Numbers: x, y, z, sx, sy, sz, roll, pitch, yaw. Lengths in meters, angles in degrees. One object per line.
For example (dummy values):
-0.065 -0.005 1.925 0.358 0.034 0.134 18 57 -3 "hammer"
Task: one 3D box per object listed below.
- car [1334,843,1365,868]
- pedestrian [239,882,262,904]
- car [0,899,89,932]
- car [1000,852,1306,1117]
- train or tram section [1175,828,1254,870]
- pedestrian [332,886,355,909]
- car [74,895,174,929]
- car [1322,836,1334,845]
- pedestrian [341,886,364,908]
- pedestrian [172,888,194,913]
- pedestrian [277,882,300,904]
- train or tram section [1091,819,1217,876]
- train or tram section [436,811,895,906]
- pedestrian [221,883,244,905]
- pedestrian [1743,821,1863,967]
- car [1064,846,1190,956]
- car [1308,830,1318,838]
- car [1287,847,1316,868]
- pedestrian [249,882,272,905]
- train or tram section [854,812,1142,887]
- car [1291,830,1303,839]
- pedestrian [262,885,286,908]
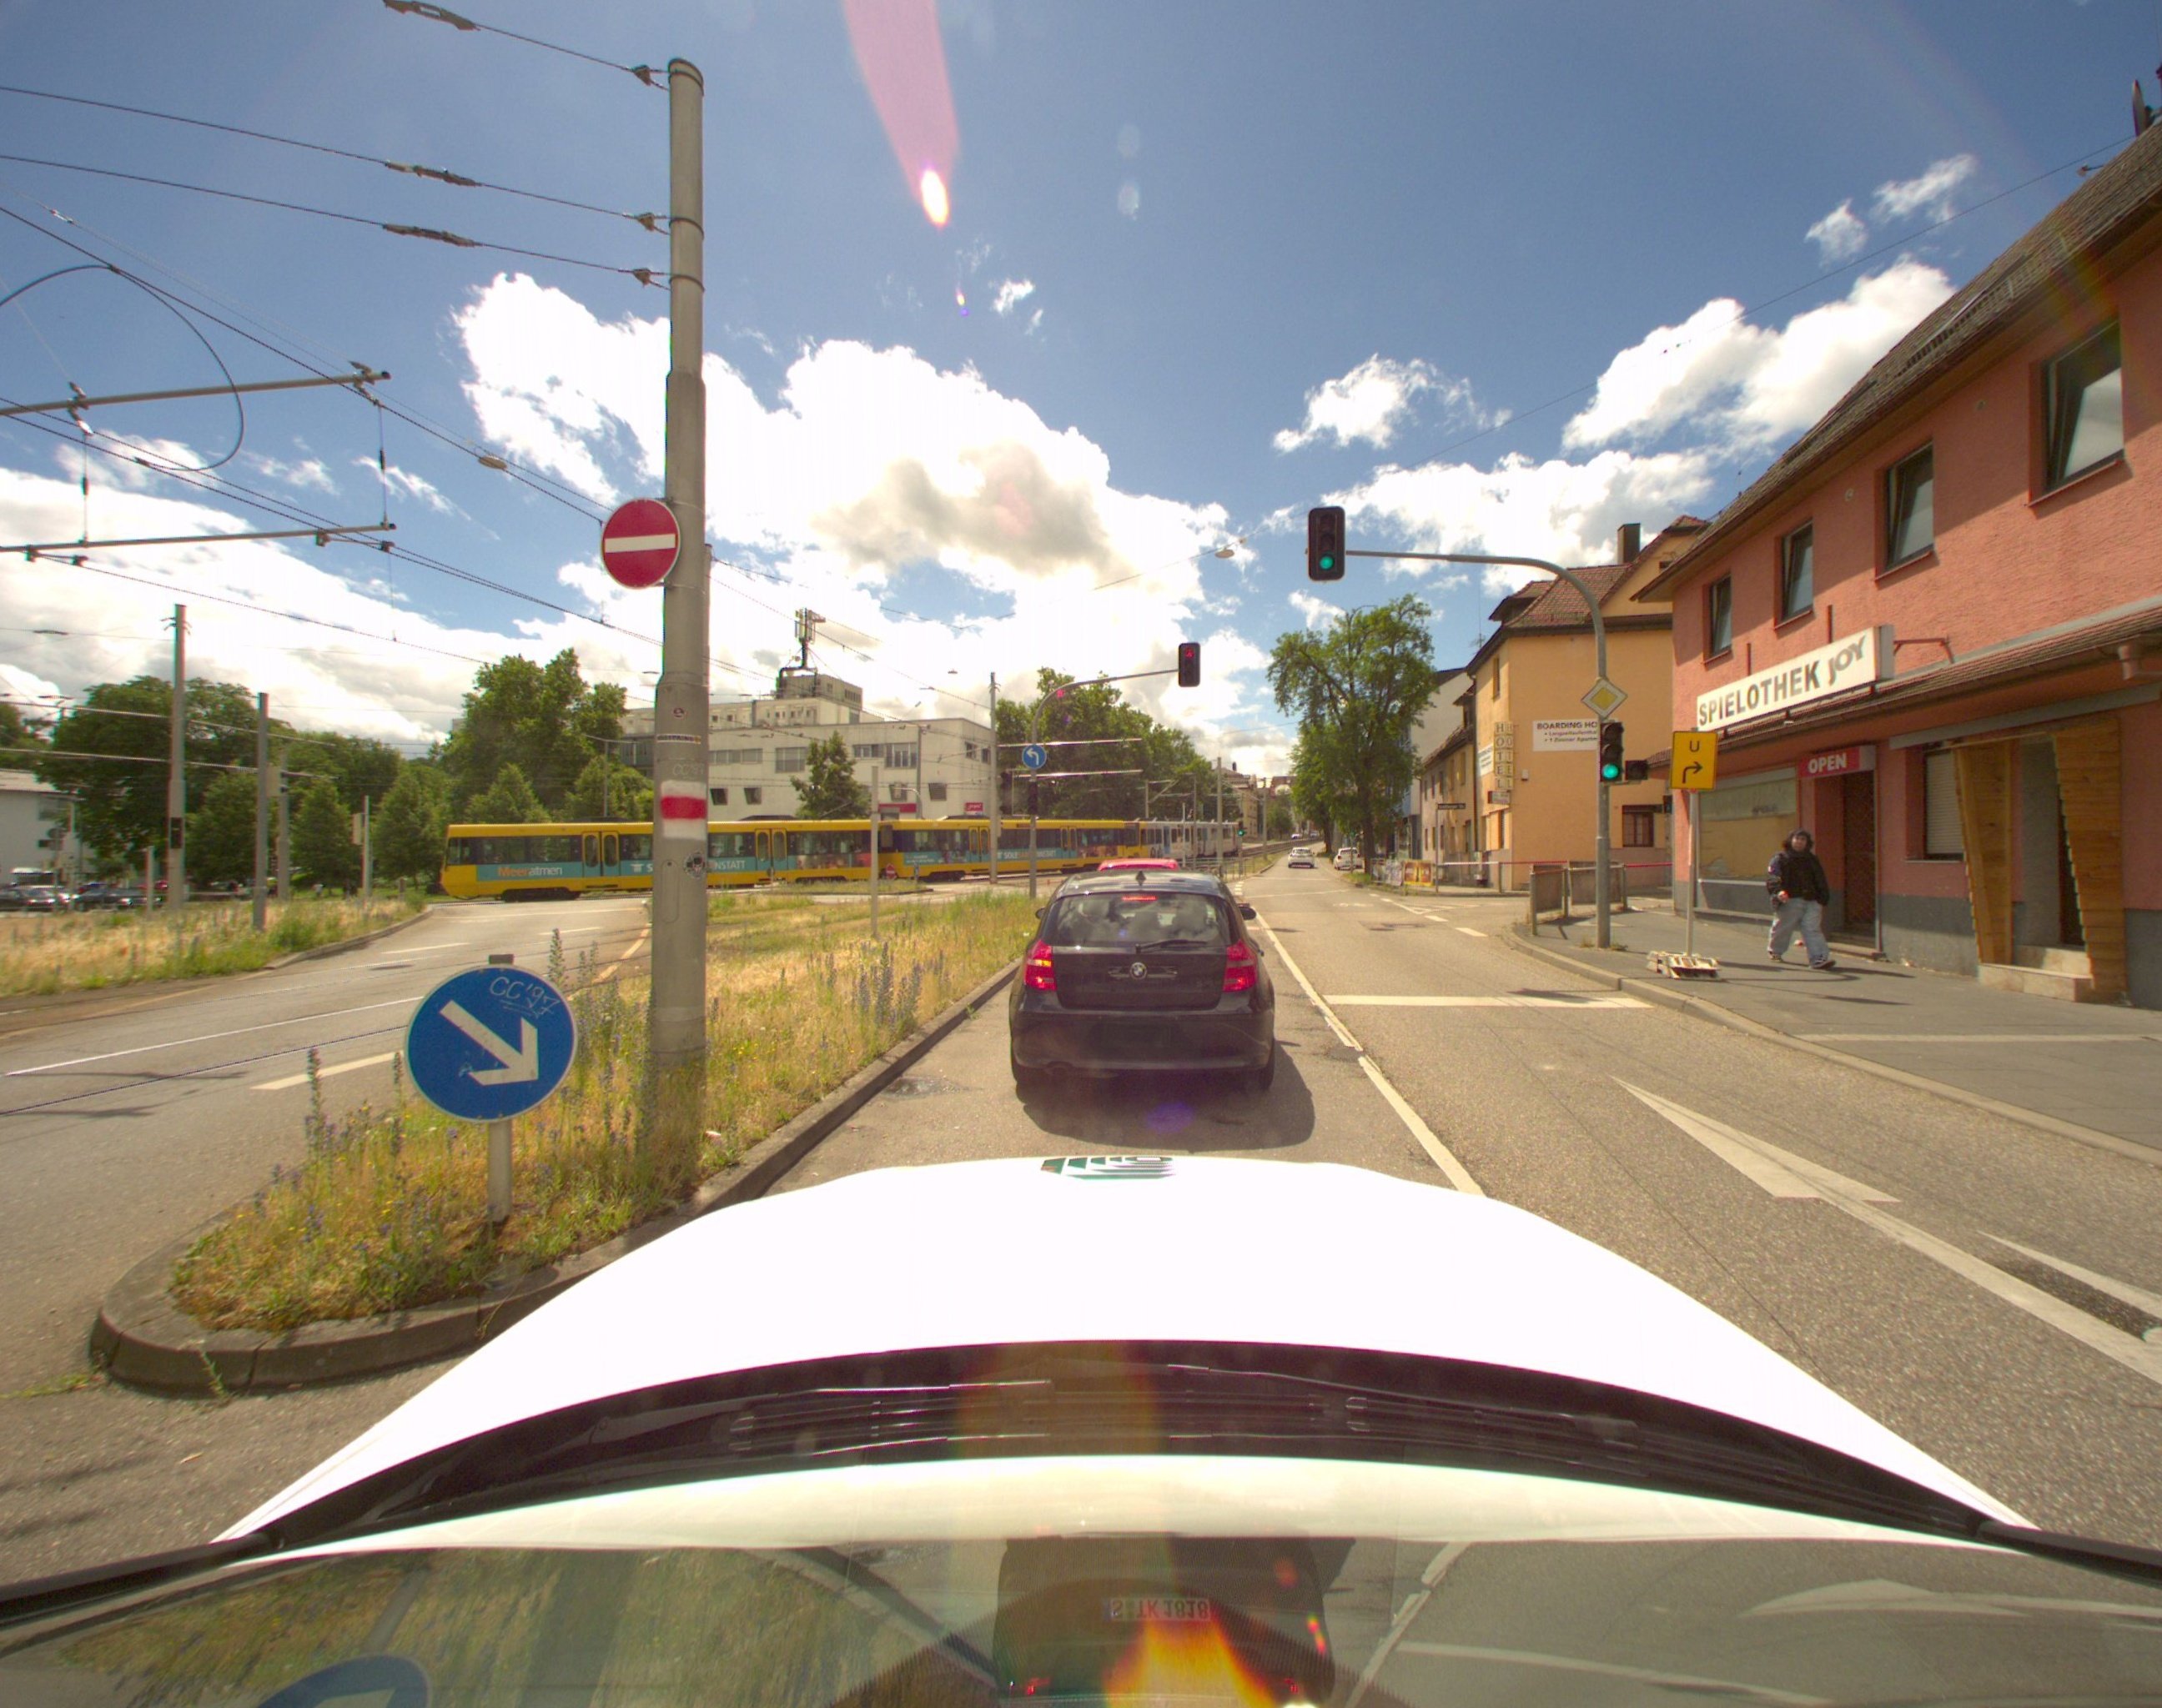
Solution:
18.376 0.089 55.854 1.774 1.596 4.016 -2 -1 15 "car"
-62.254 2.935 61.060 0.809 1.576 0.843 -1 0 7 "pedestrian"
-57.894 3.426 45.187 4.212 1.651 1.926 -2 -1 13 "car"
0.412 0.770 6.643 1.696 1.452 3.999 -2 -1 0 "car"
14.403 -0.426 85.301 3.717 3.814 20.157 -2 -1 22 "train or tram section"
-52.064 3.061 57.514 0.809 1.576 0.843 -1 0 7 "pedestrian"
-56.231 3.412 47.879 4.196 1.791 2.030 -2 -1 13 "car"
43.063 -2.376 141.897 1.800 1.468 4.020 1 1 19 "car"
-52.317 3.085 58.494 0.809 1.576 0.843 -1 0 7 "pedestrian"
-69.331 3.553 62.871 0.811 1.866 0.835 -1 0 16 "pedestrian"
-57.890 2.844 59.488 0.809 1.576 0.843 -1 0 7 "pedestrian"
6.662 -0.448 66.941 3.715 3.879 20.750 -2 -1 24 "train or tram section"
-18.967 0.025 39.591 18.931 3.919 3.729 -1 -1 -26 "train or tram section"
-62.403 2.923 59.894 0.809 1.576 0.843 -1 0 7 "pedestrian"
8.485 0.454 9.605 0.759 1.642 0.781 -2 1 13 "pedestrian"
0.888 0.677 13.236 1.615 1.473 4.009 -2 -1 8 "car"
58.745 -5.052 206.044 1.975 2.014 4.022 -2 -1 24 "car"
15.975 0.234 59.160 1.803 1.468 4.014 -2 0 12 "car"
-59.779 2.861 59.346 0.809 1.576 0.843 -1 0 7 "pedestrian"
-4.066 -0.295 50.607 3.714 3.829 20.271 -3 -1 43 "train or tram section"
49.613 -4.469 186.985 1.975 2.014 4.022 -2 -1 24 "car"
-58.144 3.068 58.679 0.809 1.576 0.843 -1 0 7 "pedestrian"
